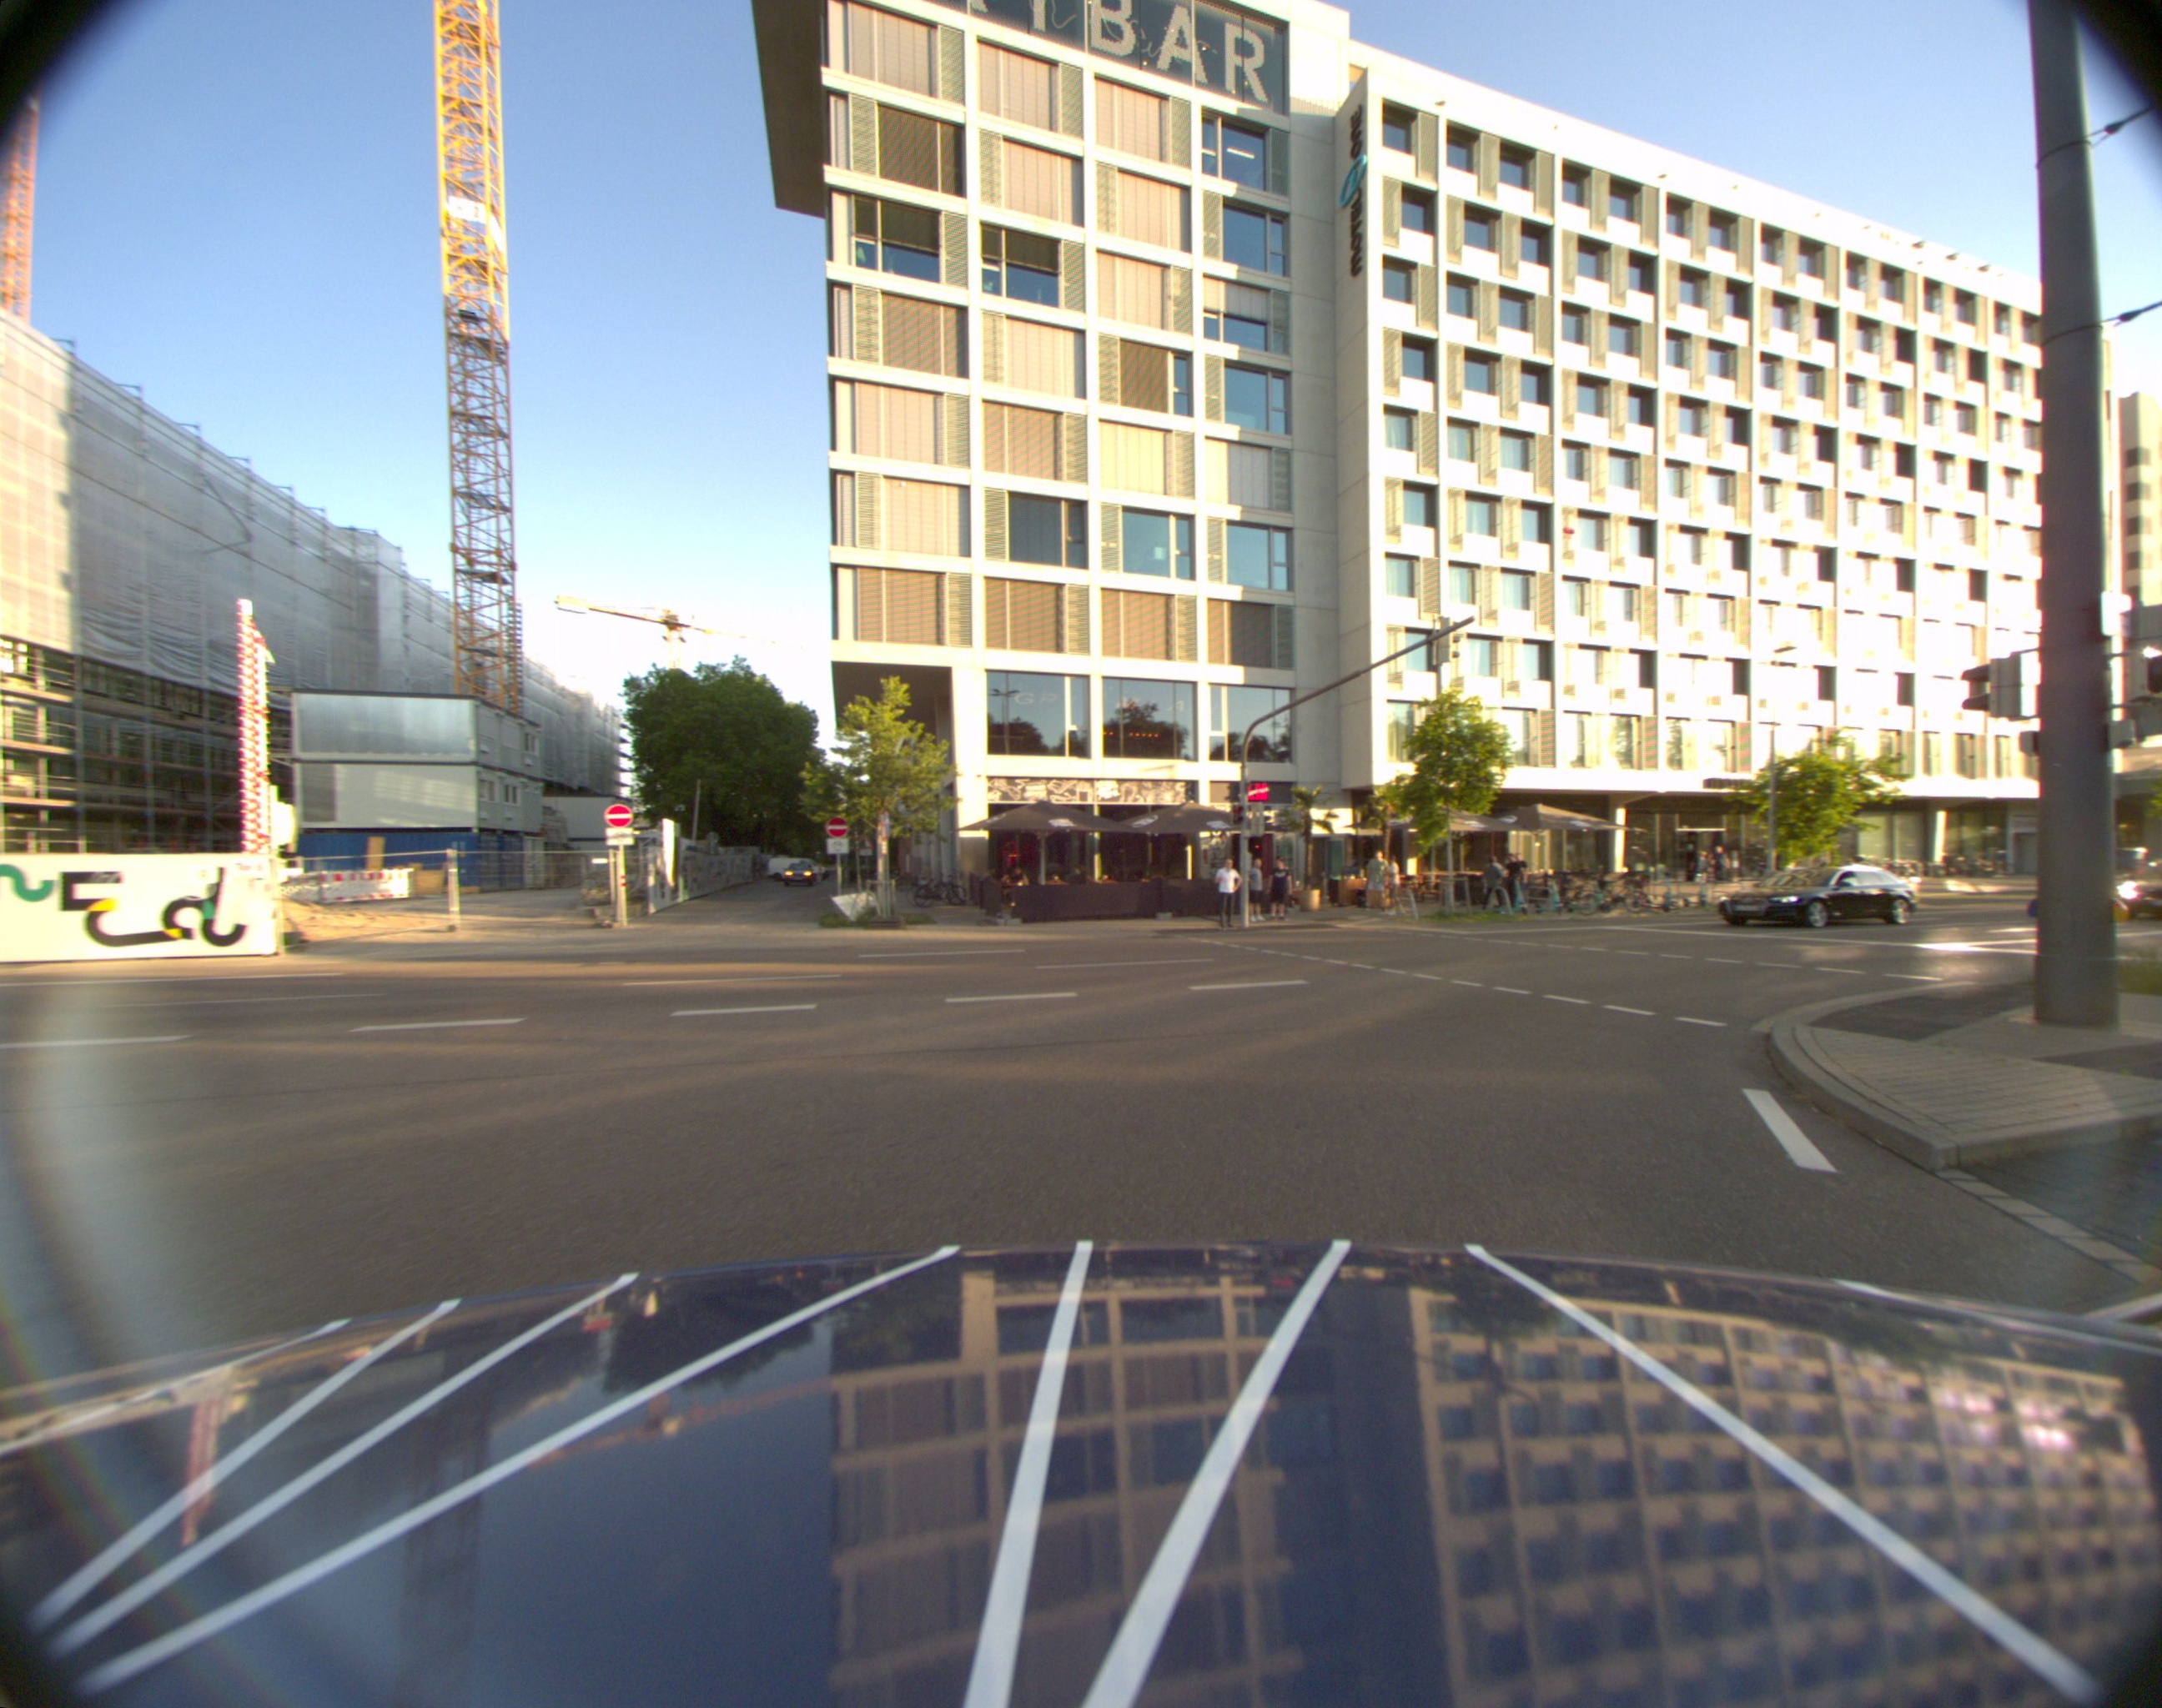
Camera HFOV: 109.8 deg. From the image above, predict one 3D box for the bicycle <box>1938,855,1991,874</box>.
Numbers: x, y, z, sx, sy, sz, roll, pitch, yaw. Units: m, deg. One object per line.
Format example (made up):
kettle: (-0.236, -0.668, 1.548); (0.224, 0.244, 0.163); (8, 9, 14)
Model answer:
bicycle: (46.849, 0.553, 40.317); (0.422, 1.014, 1.790); (-1, 0, -21)

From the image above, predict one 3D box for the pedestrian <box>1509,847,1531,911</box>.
pedestrian: (13.880, 0.778, 24.023); (0.550, 2.002, 0.503); (0, 1, 24)

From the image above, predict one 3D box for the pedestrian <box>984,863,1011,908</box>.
pedestrian: (-2.774, 1.043, 25.294); (0.773, 1.454, 0.605); (-1, 1, -18)

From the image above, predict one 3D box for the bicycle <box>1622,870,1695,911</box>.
bicycle: (18.583, 1.151, 24.513); (0.443, 1.192, 1.911); (-1, 2, -21)

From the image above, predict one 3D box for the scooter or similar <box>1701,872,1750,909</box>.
scooter or similar: (21.146, 1.174, 24.941); (0.338, 1.052, 1.183); (-2, 5, -17)

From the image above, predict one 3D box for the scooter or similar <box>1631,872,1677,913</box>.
scooter or similar: (17.994, 1.185, 23.878); (0.338, 1.210, 1.184); (-1, 1, -17)

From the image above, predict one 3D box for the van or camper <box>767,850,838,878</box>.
van or camper: (-23.333, 0.833, 63.849); (4.952, 2.110, 2.491); (-3, 1, -5)

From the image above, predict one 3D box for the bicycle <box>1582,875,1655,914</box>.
bicycle: (16.750, 1.238, 23.737); (0.443, 1.053, 1.911); (-1, 2, -21)

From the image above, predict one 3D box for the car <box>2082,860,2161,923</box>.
car: (27.476, 0.872, 18.757); (4.806, 1.432, 2.018); (-1, -1, -20)

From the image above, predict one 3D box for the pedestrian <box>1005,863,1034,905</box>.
pedestrian: (-2.092, 1.020, 25.955); (0.774, 1.406, 0.604); (-1, 1, -33)

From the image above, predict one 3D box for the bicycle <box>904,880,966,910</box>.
bicycle: (-4.848, 1.348, 25.297); (1.980, 0.869, 0.394); (-2, 3, -19)

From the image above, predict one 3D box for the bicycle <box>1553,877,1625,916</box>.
bicycle: (15.533, 1.279, 23.278); (0.443, 1.053, 1.911); (-1, 2, -21)

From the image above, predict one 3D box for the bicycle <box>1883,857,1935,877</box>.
bicycle: (42.942, 0.666, 39.429); (0.422, 1.014, 1.790); (-1, 0, -21)

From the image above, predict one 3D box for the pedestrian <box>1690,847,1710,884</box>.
pedestrian: (28.489, 0.521, 34.982); (0.516, 1.647, 0.429); (-1, 3, -16)

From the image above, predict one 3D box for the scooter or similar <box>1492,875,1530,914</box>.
scooter or similar: (12.882, 1.204, 22.795); (0.338, 1.079, 0.973); (2, 2, -17)

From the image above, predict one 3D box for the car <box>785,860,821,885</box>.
car: (-18.958, 1.205, 51.933); (2.010, 1.588, 3.700); (-1, 0, -17)

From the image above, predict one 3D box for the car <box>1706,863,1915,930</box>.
car: (17.699, 0.991, 18.463); (4.227, 1.431, 1.889); (-1, -2, -19)

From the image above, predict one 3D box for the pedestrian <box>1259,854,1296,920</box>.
pedestrian: (5.561, 0.916, 21.510); (0.681, 1.826, 0.707); (0, 3, -19)

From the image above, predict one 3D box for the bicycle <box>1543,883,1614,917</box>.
bicycle: (15.090, 1.371, 23.099); (0.443, 0.865, 1.867); (-1, 2, -21)

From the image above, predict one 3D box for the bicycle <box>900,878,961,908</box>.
bicycle: (-5.179, 1.330, 26.134); (1.980, 0.869, 0.394); (-2, 3, -19)

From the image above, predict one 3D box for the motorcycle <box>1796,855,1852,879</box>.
motorcycle: (36.713, 0.626, 37.565); (0.517, 1.165, 1.893); (-1, 1, -32)

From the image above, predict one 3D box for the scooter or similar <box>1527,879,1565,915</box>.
scooter or similar: (14.008, 1.277, 22.903); (0.291, 1.028, 1.008); (1, 1, -17)

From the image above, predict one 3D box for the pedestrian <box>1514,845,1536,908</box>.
pedestrian: (14.326, 0.707, 24.504); (0.550, 2.002, 0.503); (0, 1, 24)

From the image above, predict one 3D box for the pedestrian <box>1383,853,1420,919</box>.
pedestrian: (9.537, 0.943, 22.633); (0.709, 1.913, 0.679); (-1, 3, -15)

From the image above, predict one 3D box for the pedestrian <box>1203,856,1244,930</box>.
pedestrian: (3.671, 0.989, 19.650); (0.763, 1.826, 0.707); (-1, 3, -19)

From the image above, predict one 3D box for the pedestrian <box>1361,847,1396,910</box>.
pedestrian: (9.299, 0.763, 23.770); (0.709, 1.913, 0.679); (-1, 3, -16)

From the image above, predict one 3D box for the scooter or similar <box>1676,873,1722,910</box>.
scooter or similar: (20.028, 1.204, 24.645); (0.338, 1.157, 1.184); (-1, 1, -17)

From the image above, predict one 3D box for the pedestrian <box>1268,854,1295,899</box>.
pedestrian: (7.174, 0.790, 27.218); (0.709, 1.594, 0.680); (0, 1, -11)

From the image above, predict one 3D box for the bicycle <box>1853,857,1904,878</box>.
bicycle: (40.388, 0.681, 38.484); (0.422, 1.014, 1.745); (-1, 0, -21)

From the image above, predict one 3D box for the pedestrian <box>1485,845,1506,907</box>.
pedestrian: (13.476, 0.700, 24.724); (0.550, 2.002, 0.503); (0, 1, 24)
